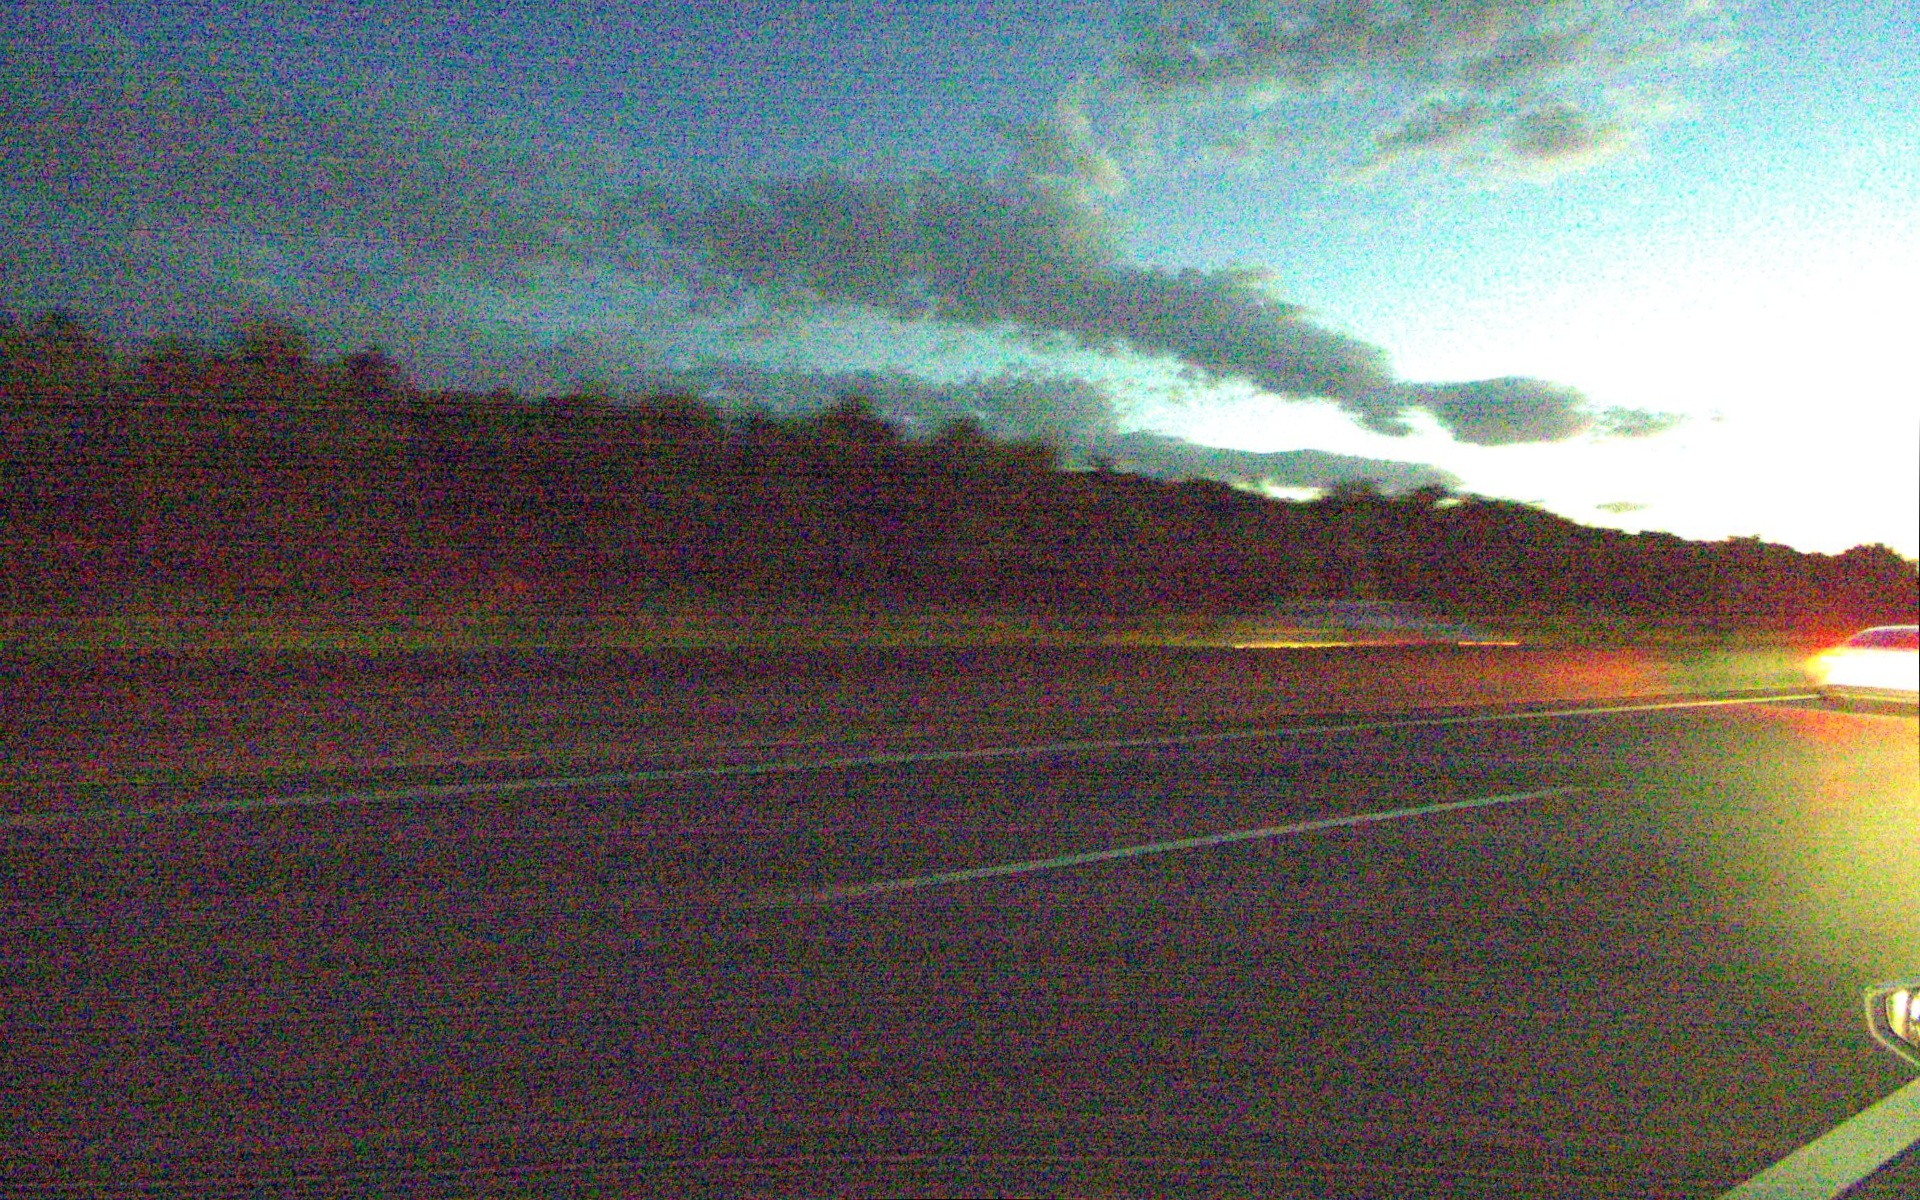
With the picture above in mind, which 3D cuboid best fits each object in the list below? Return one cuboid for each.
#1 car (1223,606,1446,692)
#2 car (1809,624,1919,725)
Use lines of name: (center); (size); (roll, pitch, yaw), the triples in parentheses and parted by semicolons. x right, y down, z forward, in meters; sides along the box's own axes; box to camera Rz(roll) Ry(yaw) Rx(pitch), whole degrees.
car: (8.408, 1.051, 22.477); (4.707, 1.704, 2.186); (1, 0, -30)
car: (16.576, 1.198, 16.973); (5.191, 1.506, 1.771); (1, 0, -30)
